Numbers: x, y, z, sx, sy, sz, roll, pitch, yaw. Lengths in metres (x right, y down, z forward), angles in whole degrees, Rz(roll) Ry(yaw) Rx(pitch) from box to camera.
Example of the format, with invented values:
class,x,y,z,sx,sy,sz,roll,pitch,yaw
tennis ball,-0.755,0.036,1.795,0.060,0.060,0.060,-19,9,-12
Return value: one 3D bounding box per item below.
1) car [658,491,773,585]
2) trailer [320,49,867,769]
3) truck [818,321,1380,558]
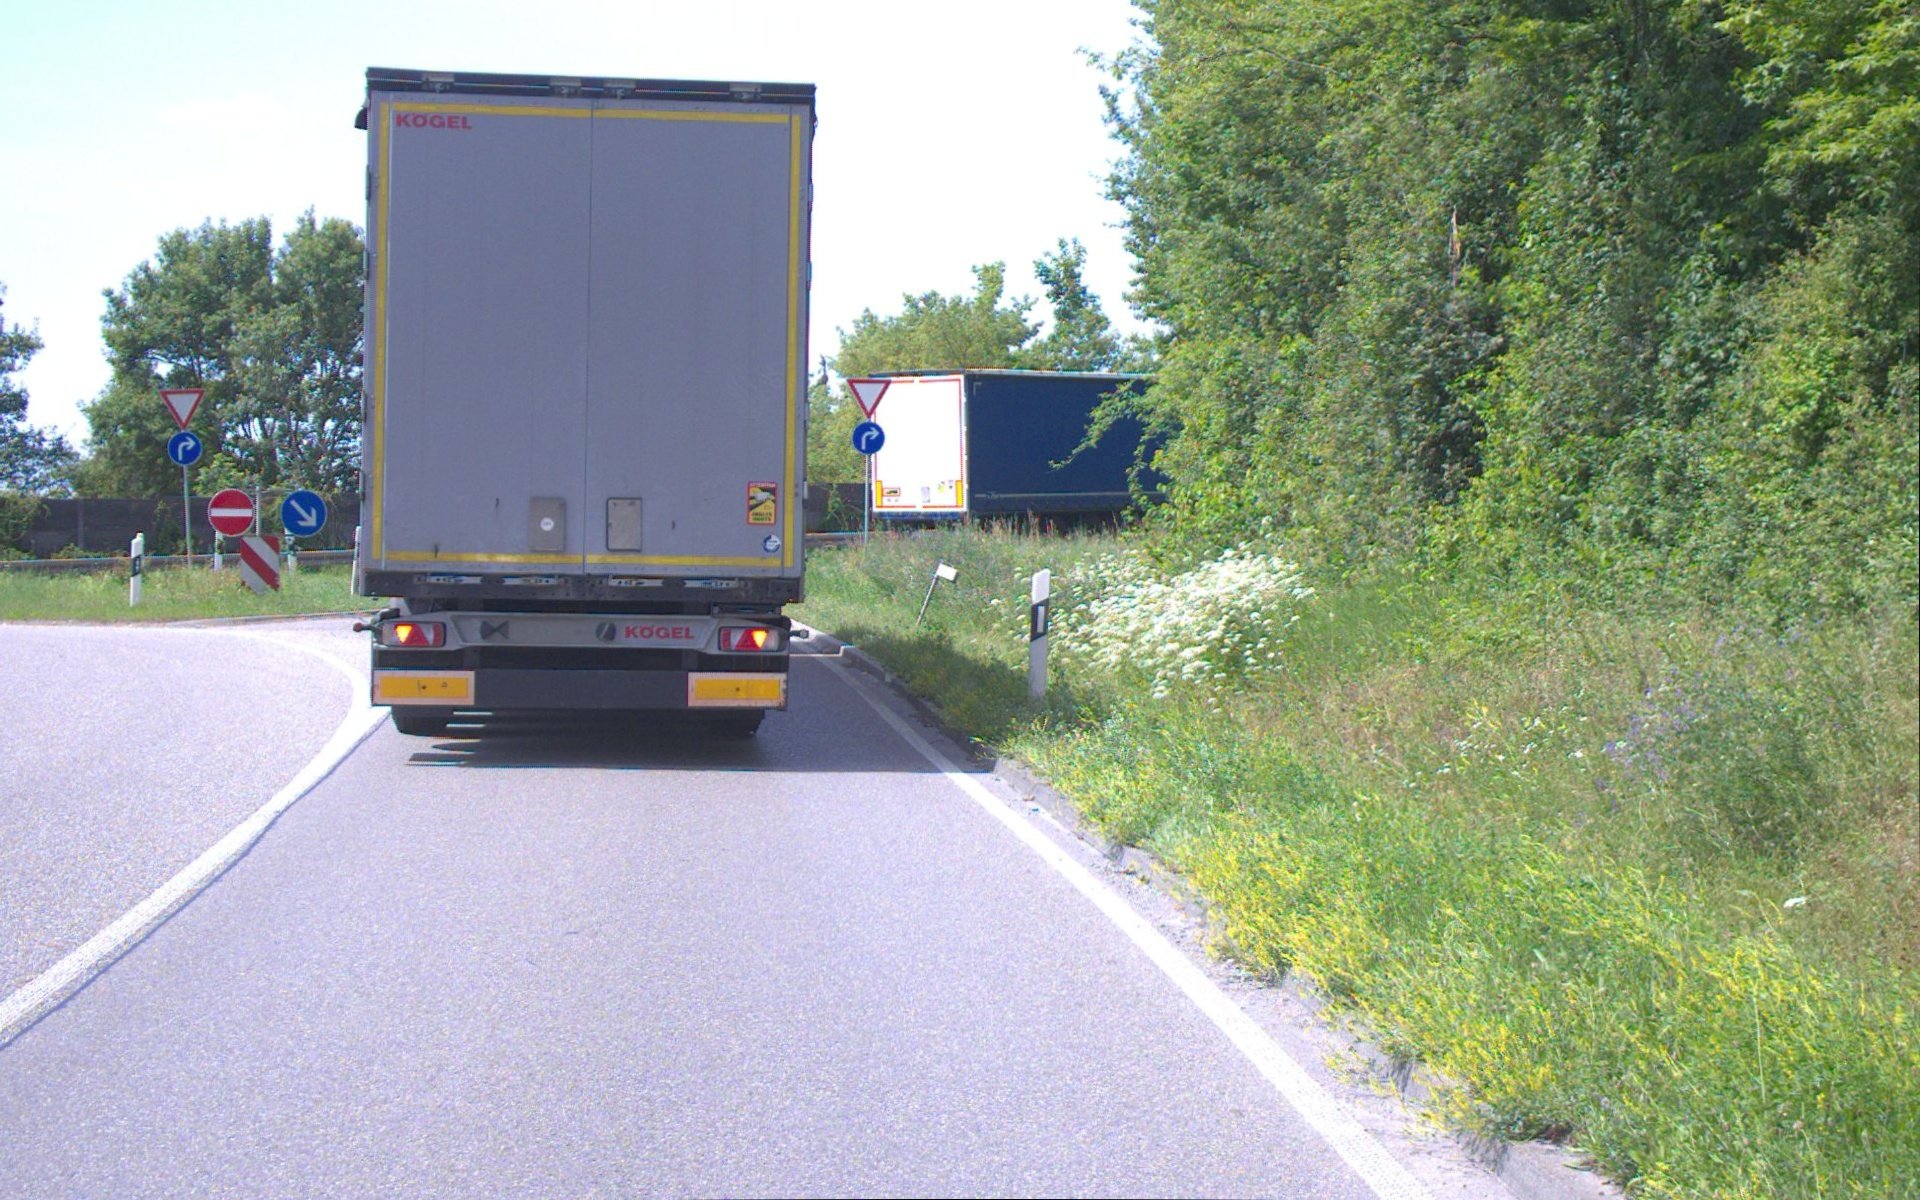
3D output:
class,x,y,z,sx,sy,sz,roll,pitch,yaw
car,-4.021,-1.056,57.065,1.666,1.481,4.001,-1,2,-1
trailer,-2.635,-1.282,26.170,3.026,4.020,13.355,1,2,-5
truck,3.534,-3.480,76.649,3.837,4.728,16.169,0,2,38
